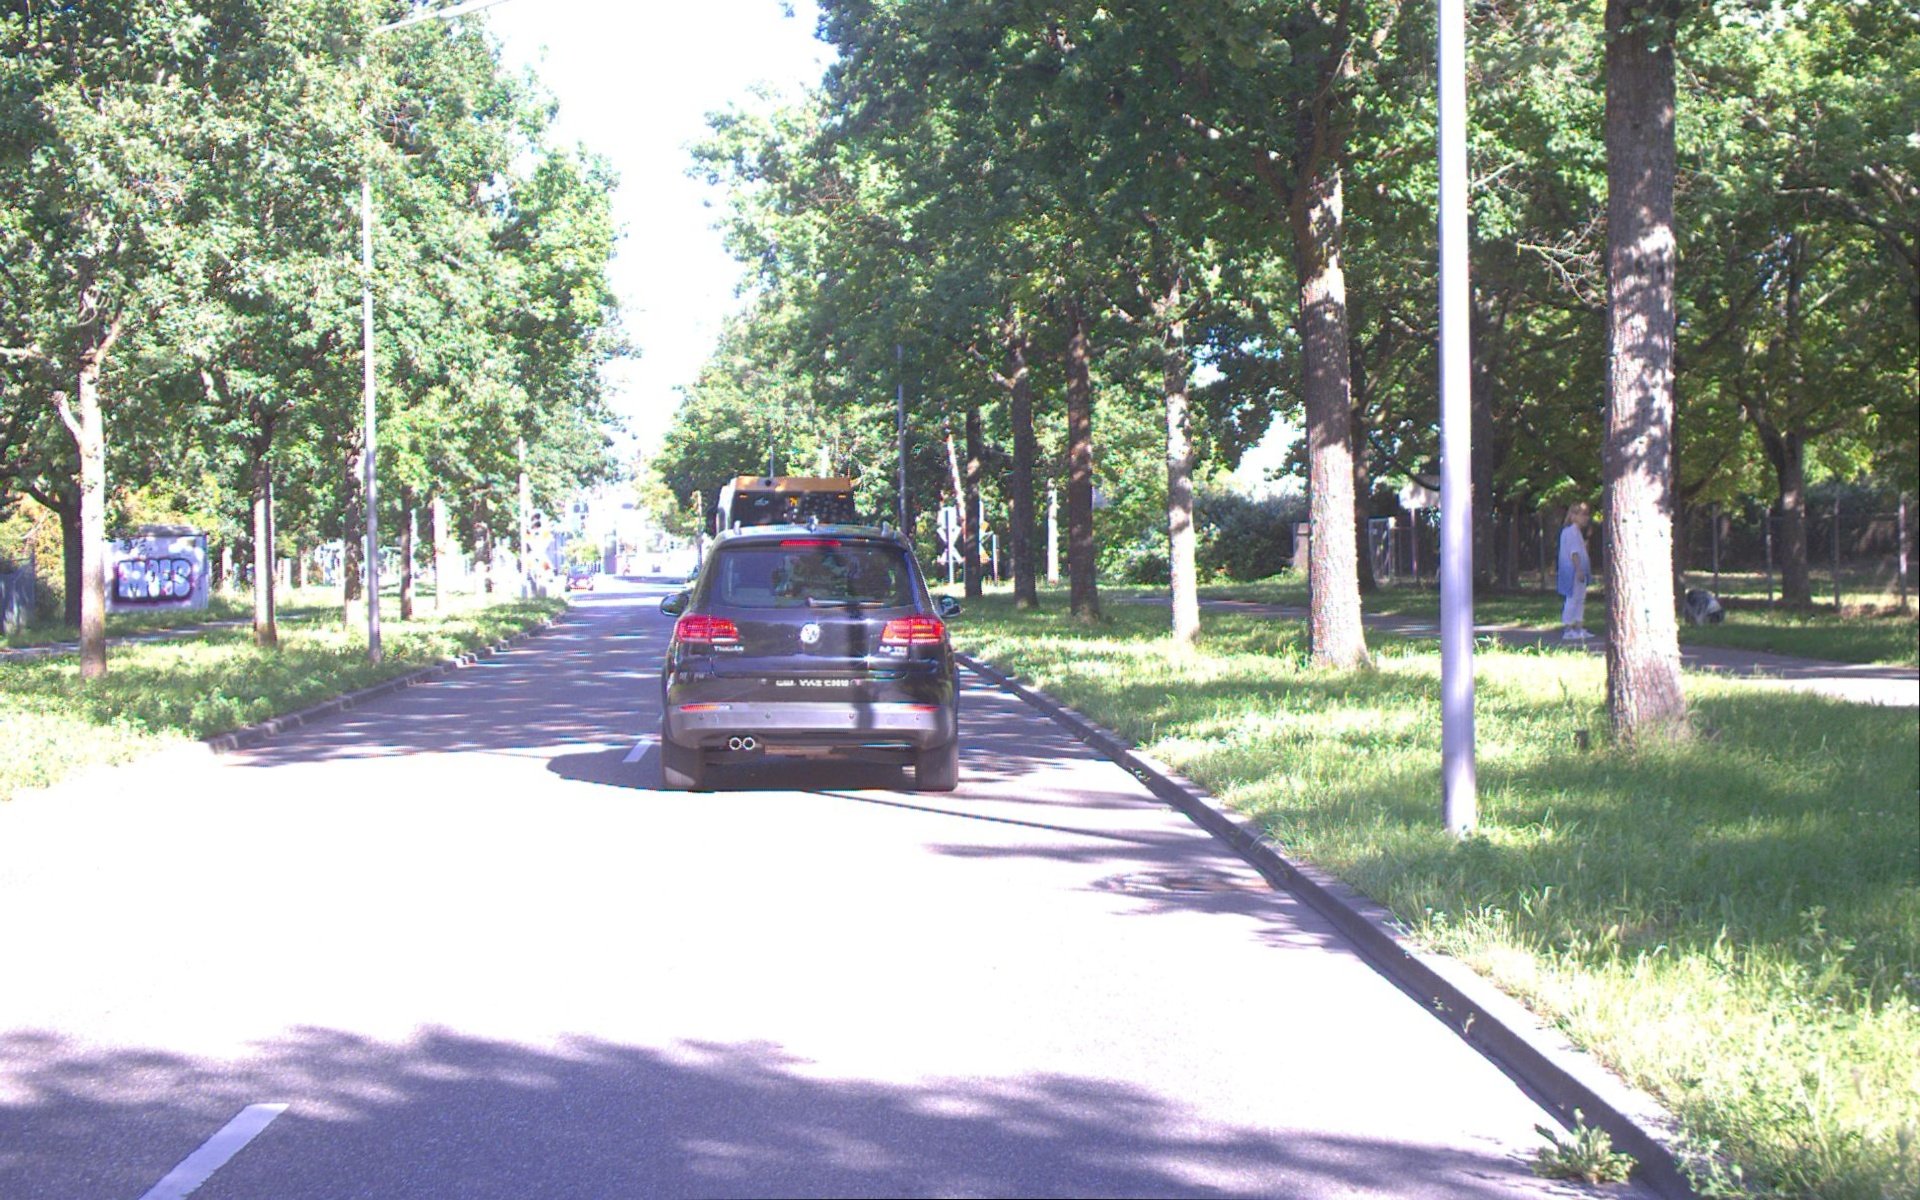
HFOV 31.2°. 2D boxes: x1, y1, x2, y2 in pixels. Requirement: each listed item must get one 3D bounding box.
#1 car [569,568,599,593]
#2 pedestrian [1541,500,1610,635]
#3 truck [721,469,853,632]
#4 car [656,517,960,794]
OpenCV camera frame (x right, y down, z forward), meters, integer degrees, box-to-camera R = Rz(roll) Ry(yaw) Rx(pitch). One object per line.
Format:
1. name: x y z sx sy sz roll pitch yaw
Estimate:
1. car: -22.719 -1.182 207.770 1.565 1.499 4.000 1 1 -2
2. pedestrian: 7.646 -0.402 42.667 0.717 1.625 0.609 -3 1 15
3. truck: -3.772 -1.056 73.489 2.511 3.232 8.153 -1 1 -5
4. car: -1.055 0.310 22.399 1.782 1.628 4.001 1 1 -4
